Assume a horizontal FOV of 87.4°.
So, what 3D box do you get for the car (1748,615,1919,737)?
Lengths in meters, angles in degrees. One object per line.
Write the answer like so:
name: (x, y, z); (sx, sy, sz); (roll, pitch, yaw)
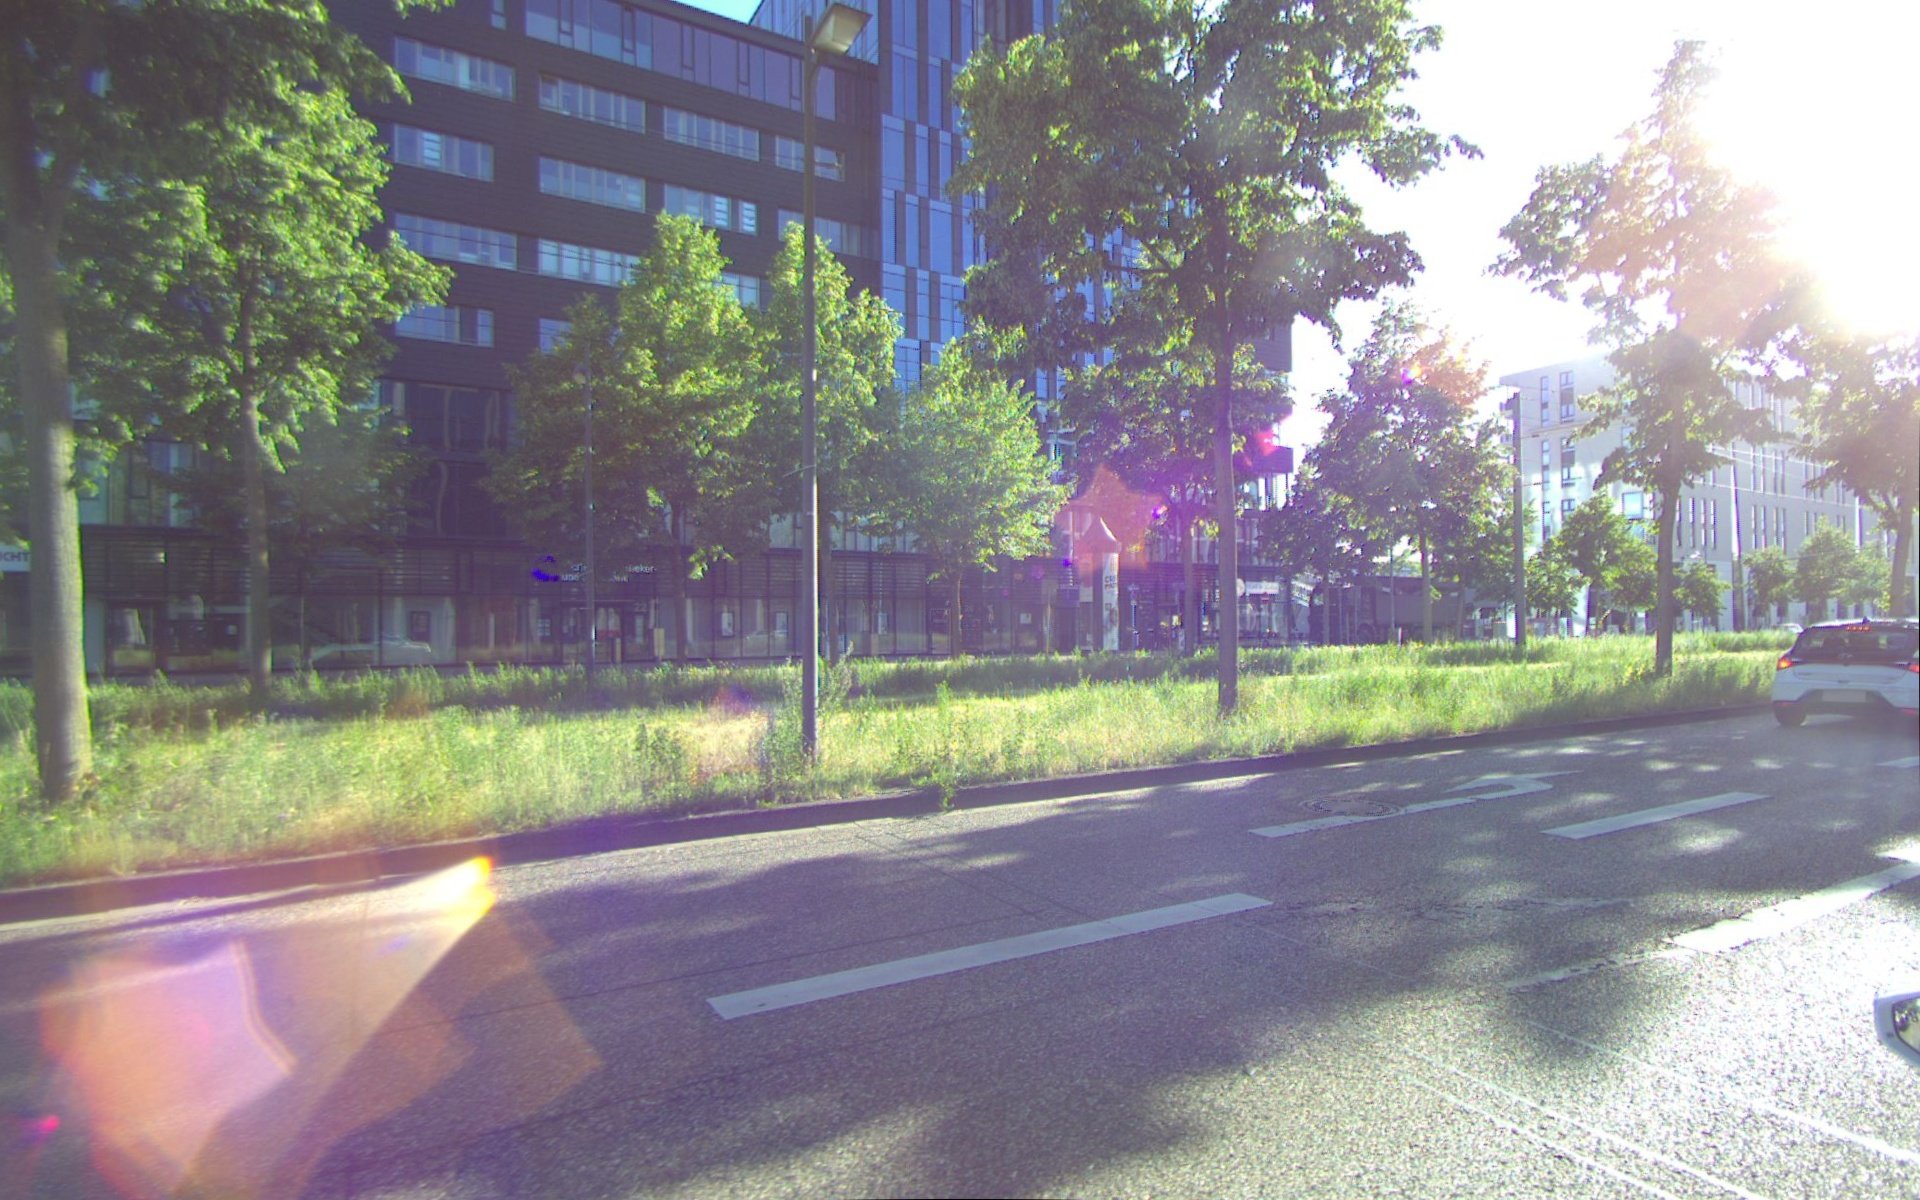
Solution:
car: (12.751, 0.942, 13.726); (3.956, 1.460, 1.931); (1, -1, -33)
